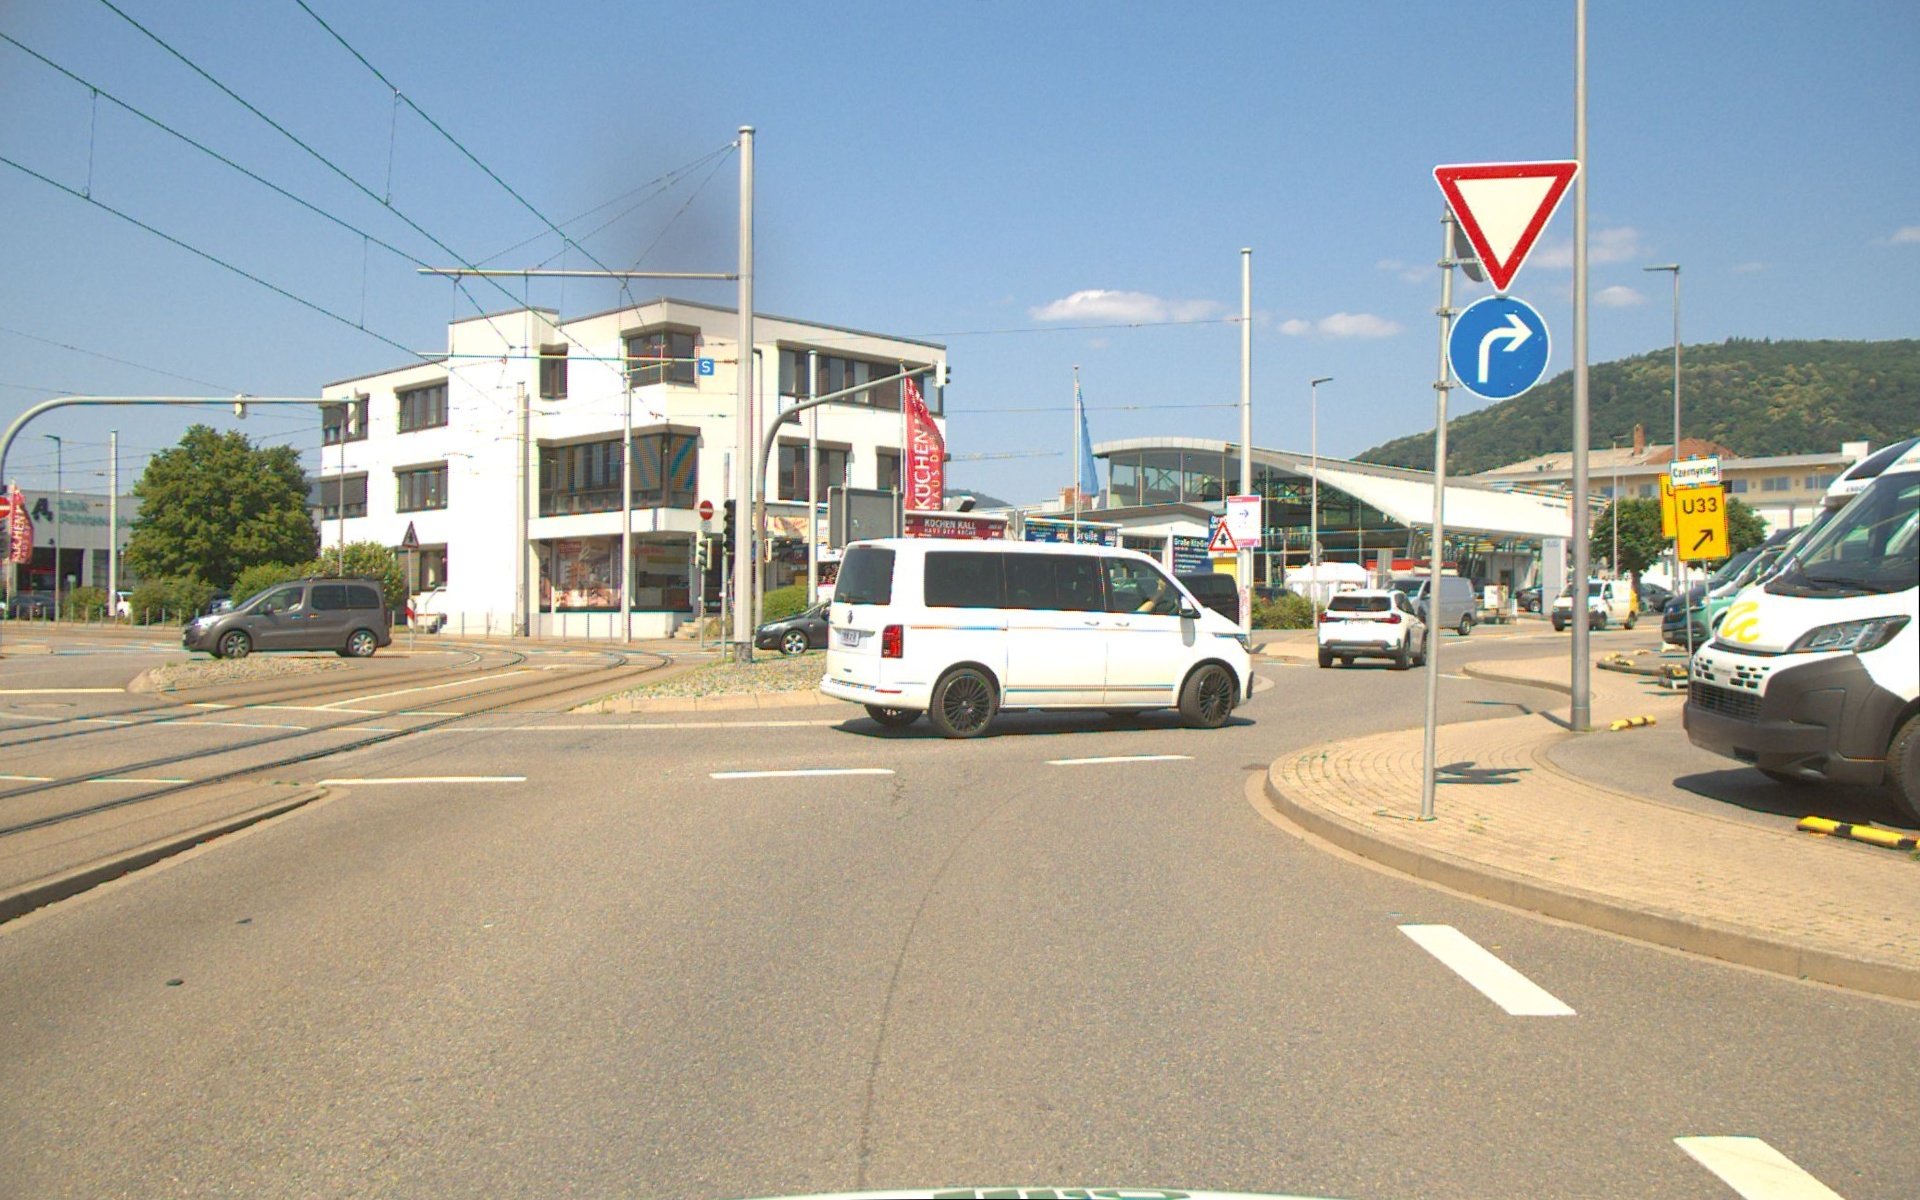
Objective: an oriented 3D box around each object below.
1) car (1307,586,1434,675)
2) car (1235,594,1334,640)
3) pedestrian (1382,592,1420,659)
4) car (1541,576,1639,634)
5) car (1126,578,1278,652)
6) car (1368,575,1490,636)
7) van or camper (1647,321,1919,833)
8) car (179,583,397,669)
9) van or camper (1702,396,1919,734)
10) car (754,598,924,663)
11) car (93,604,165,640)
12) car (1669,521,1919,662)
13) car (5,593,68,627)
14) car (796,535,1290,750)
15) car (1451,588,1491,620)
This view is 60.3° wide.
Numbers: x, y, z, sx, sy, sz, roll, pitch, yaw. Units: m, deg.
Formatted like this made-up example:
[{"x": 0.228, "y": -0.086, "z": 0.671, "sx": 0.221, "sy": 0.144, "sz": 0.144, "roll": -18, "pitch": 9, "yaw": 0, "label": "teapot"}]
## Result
[{"x": 8.786, "y": 0.610, "z": 35.145, "sx": 1.953, "sy": 1.763, "sz": 4.563, "roll": -1, "pitch": 0, "yaw": 22, "label": "car"}, {"x": 12.472, "y": 0.642, "z": 63.449, "sx": 1.964, "sy": 1.646, "sz": 3.977, "roll": -1, "pitch": 0, "yaw": 41, "label": "car"}, {"x": 11.128, "y": 0.638, "z": 41.769, "sx": 0.861, "sy": 1.665, "sz": 0.954, "roll": 0, "pitch": 0, "yaw": 11, "label": "pedestrian"}, {"x": 24.824, "y": 0.164, "z": 65.099, "sx": 1.992, "sy": 2.151, "sz": 4.904, "roll": 0, "pitch": 1, "yaw": 42, "label": "car"}, {"x": 6.819, "y": 0.363, "z": 46.271, "sx": 2.060, "sy": 1.943, "sz": 4.613, "roll": 0, "pitch": 1, "yaw": 41, "label": "car"}, {"x": 15.820, "y": 0.164, "z": 55.675, "sx": 1.901, "sy": 1.969, "sz": 4.795, "roll": 0, "pitch": 0, "yaw": 44, "label": "car"}, {"x": 7.509, "y": -0.187, "z": 10.162, "sx": 5.691, "sy": 2.822, "sz": 2.091, "roll": -1, "pitch": 1, "yaw": 1, "label": "van or camper"}, {"x": -15.271, "y": 0.547, "z": 37.619, "sx": 4.353, "sy": 1.850, "sz": 1.968, "roll": 0, "pitch": 0, "yaw": -32, "label": "car"}, {"x": 11.218, "y": -0.423, "z": 16.066, "sx": 6.919, "sy": 2.998, "sz": 2.334, "roll": -2, "pitch": -1, "yaw": -2, "label": "van or camper"}, {"x": -3.093, "y": 0.753, "z": 41.860, "sx": 4.151, "sy": 1.583, "sz": 1.965, "roll": 0, "pitch": 0, "yaw": -10, "label": "car"}, {"x": -43.115, "y": 1.149, "z": 85.751, "sx": 3.927, "sy": 1.691, "sz": 1.989, "roll": -3, "pitch": -1, "yaw": 41, "label": "car"}, {"x": 18.296, "y": -0.187, "z": 34.498, "sx": 6.006, "sy": 2.764, "sz": 2.308, "roll": -1, "pitch": 0, "yaw": 6, "label": "car"}, {"x": -53.490, "y": 0.572, "z": 95.750, "sx": 3.927, "sy": 1.814, "sz": 1.989, "roll": -3, "pitch": -1, "yaw": 41, "label": "car"}, {"x": 0.913, "y": 0.398, "z": 17.878, "sx": 4.939, "sy": 2.049, "sz": 2.152, "roll": 0, "pitch": 0, "yaw": -26, "label": "car"}, {"x": 27.106, "y": 0.198, "z": 87.651, "sx": 1.709, "sy": 1.612, "sz": 3.661, "roll": -1, "pitch": 0, "yaw": 22, "label": "car"}]
